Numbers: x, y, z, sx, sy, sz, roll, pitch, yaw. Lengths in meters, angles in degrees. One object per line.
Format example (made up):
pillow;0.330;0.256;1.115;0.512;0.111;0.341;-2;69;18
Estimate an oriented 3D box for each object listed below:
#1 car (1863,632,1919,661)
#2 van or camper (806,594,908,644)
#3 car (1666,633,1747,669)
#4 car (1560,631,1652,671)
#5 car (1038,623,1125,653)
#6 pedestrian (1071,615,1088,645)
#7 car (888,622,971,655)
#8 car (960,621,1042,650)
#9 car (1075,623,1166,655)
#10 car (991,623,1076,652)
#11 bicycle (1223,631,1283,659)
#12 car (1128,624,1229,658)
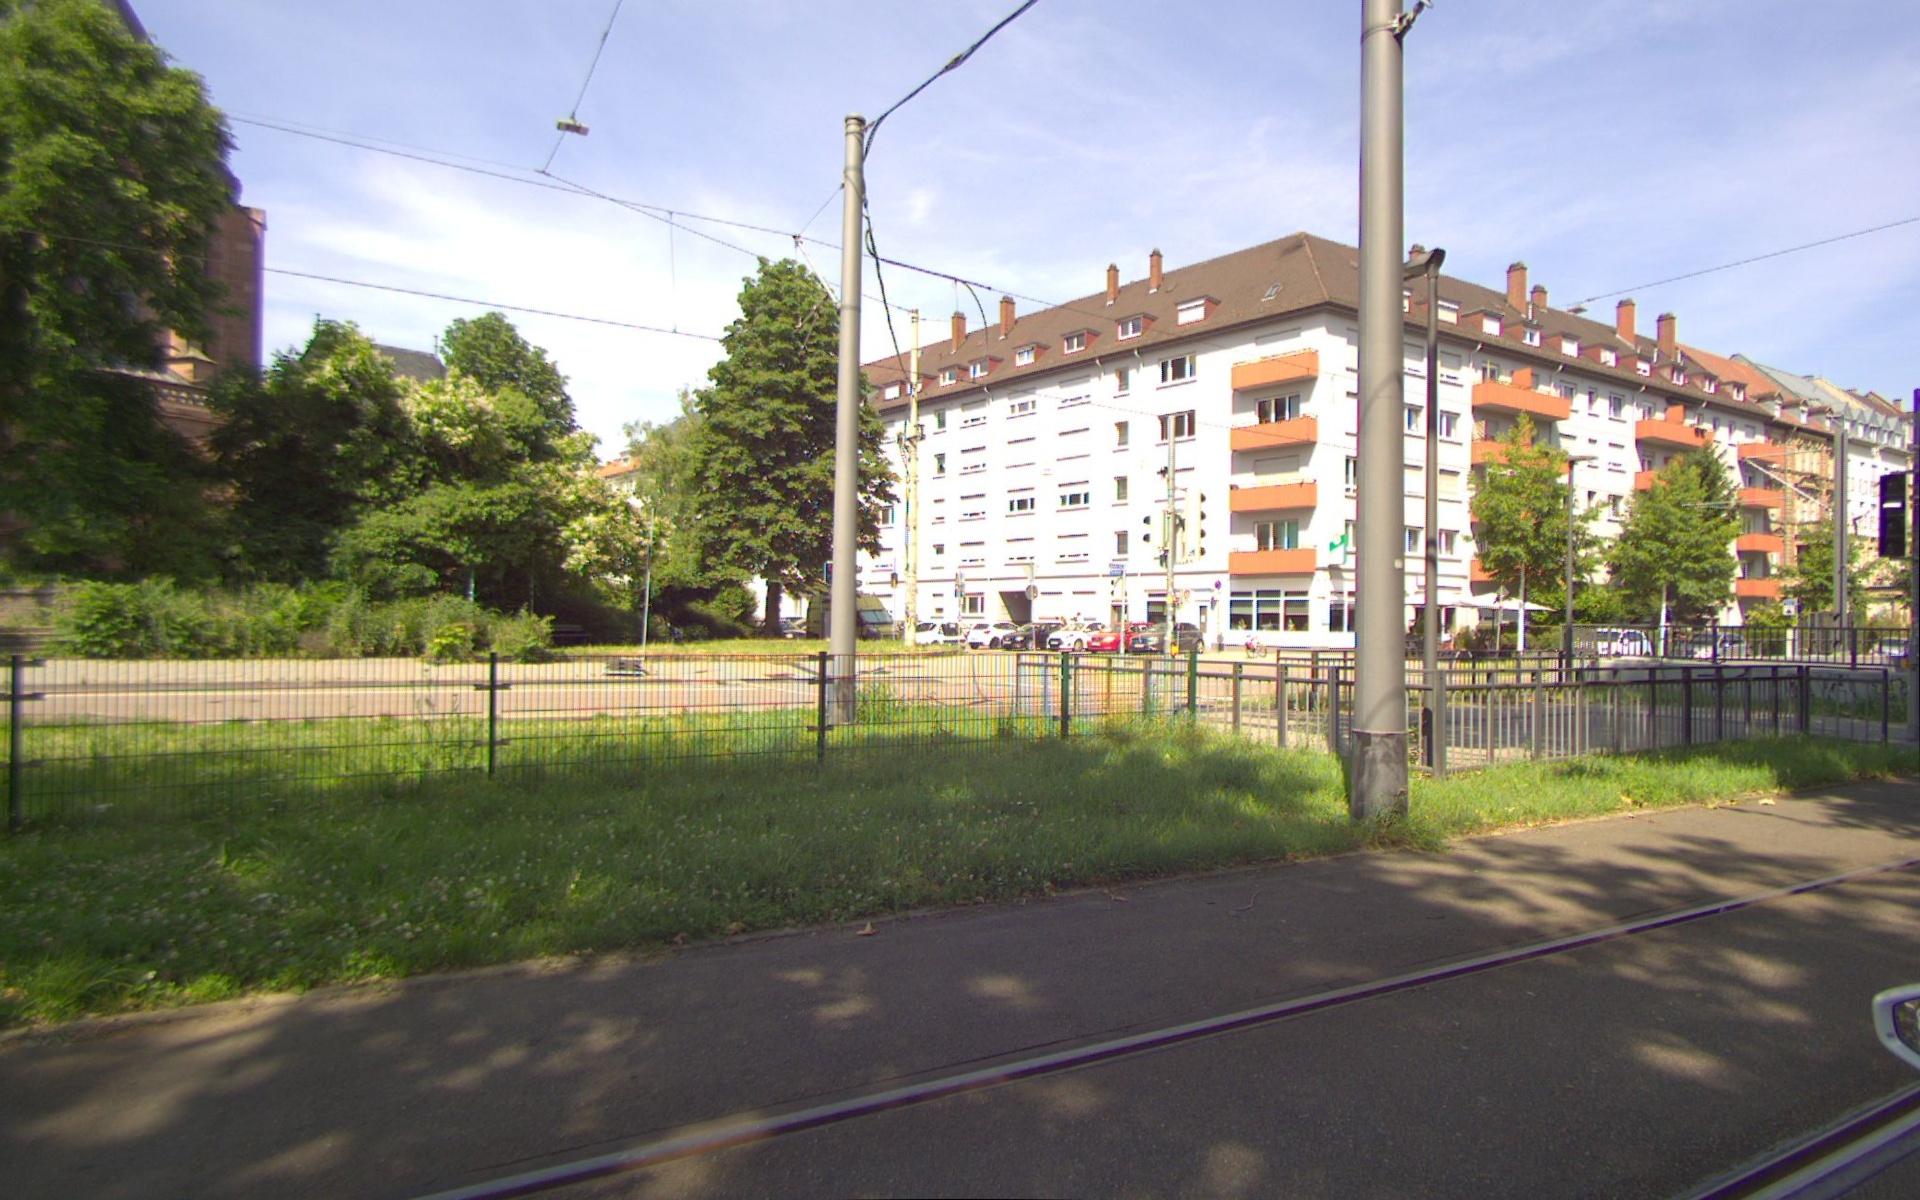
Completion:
car;51.163;2.549;55.035;3.961;1.518;1.758;2;-1;-36
van or camper;-5.291;0.947;50.995;2.228;2.360;5.704;2;-1;-42
car;32.914;2.225;44.290;3.961;1.518;1.759;2;-3;-36
car;25.719;2.022;39.977;3.961;1.518;1.759;2;-3;-36
car;6.047;1.863;49.669;4.129;1.425;1.917;2;-1;-38
pedestrian;6.431;1.610;54.052;0.679;1.593;0.544;0;-1;36
car;-1.447;1.760;46.630;3.702;1.425;1.823;0;-2;44
car;2.224;1.883;53.536;4.129;1.425;1.917;2;-1;-38
car;7.589;1.834;47.351;4.129;1.425;1.917;2;-1;-38
car;3.758;1.908;51.234;4.129;1.425;1.917;2;-1;-38
bicycle;12.514;1.899;42.889;2.779;1.152;0.905;2;-1;-34
car;9.754;1.818;44.756;4.598;1.394;1.821;2;-1;-36
